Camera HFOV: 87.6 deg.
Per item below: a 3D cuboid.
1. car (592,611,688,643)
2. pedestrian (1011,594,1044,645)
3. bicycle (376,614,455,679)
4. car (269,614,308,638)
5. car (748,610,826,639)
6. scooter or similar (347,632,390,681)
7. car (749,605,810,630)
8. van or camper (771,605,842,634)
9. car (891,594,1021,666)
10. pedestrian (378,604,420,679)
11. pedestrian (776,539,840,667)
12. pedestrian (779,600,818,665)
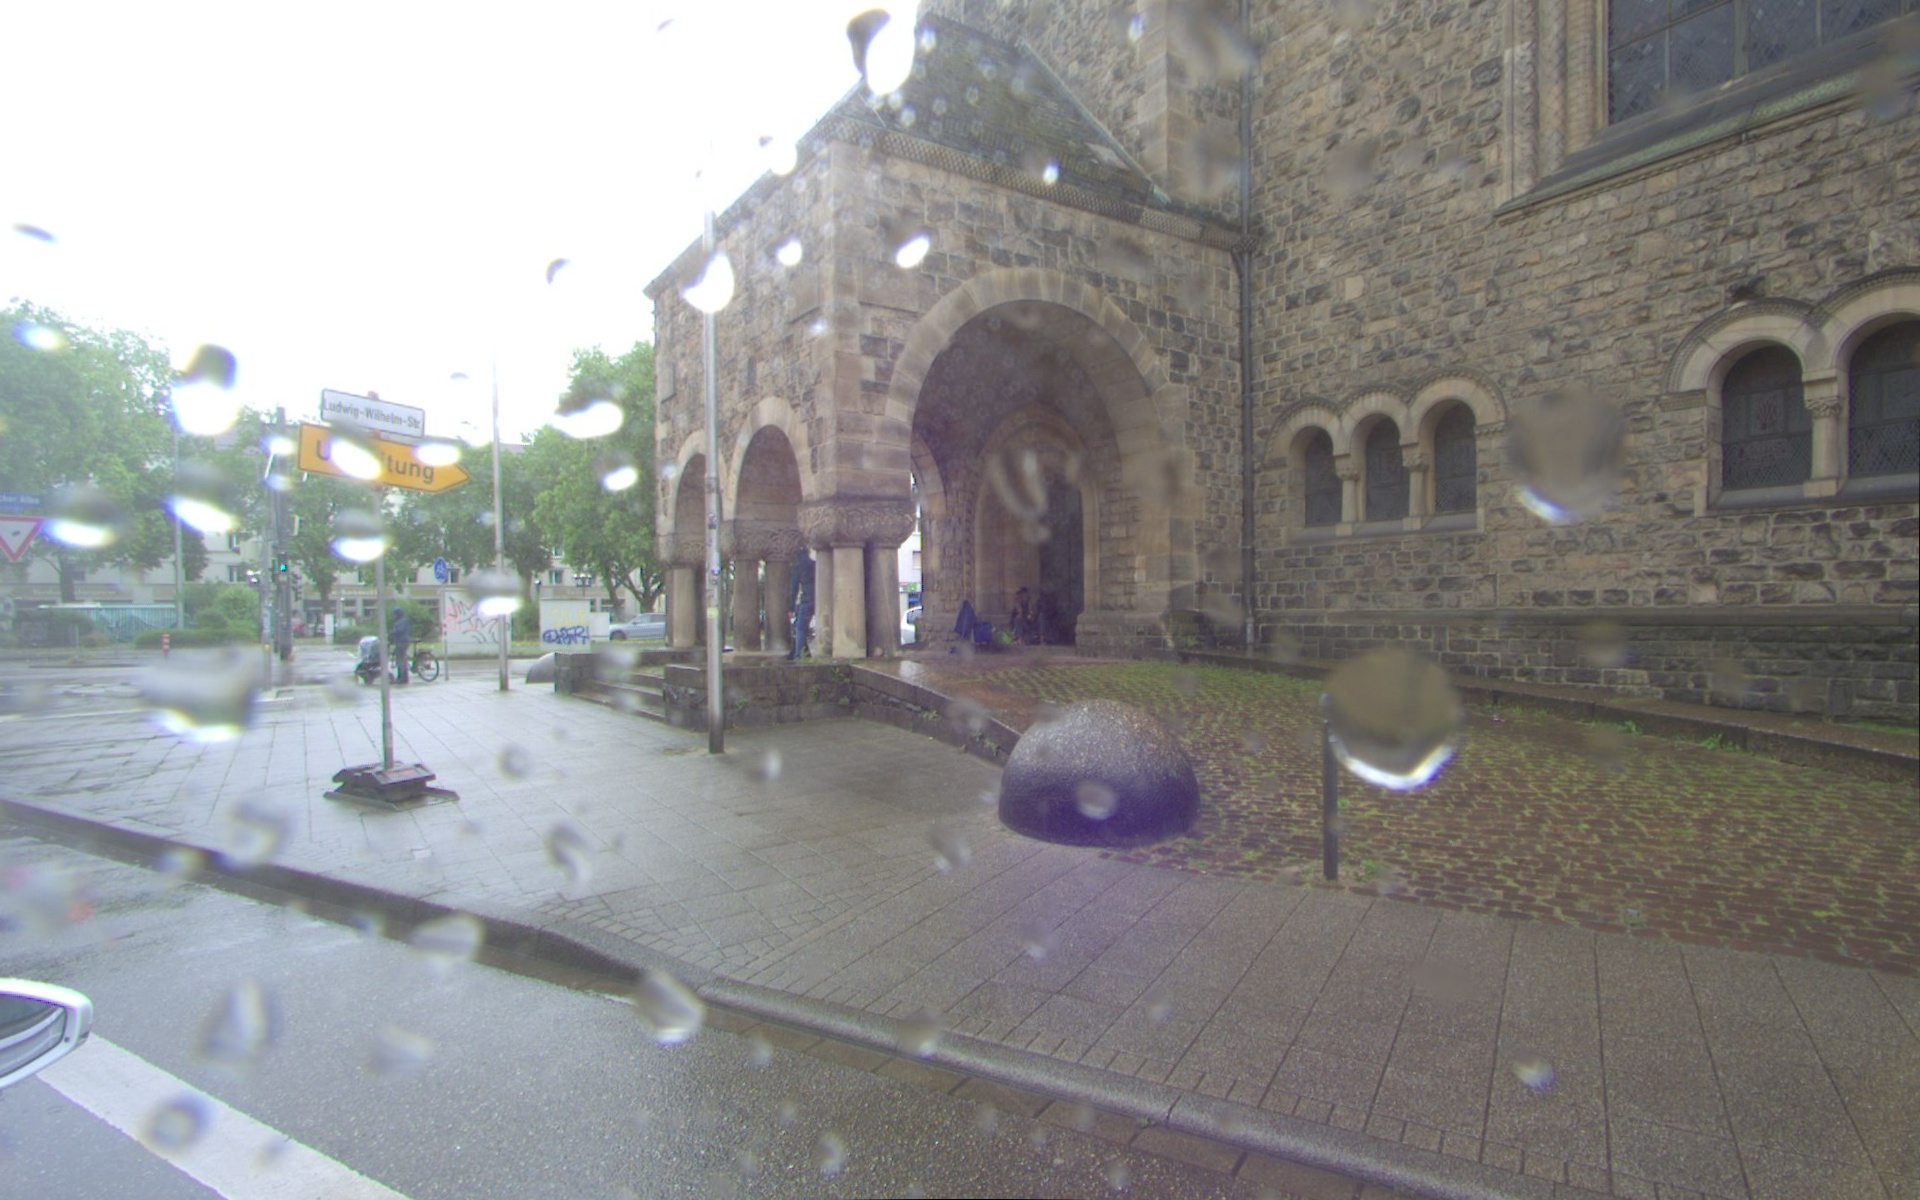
[{"bbox_3d":[-16.857,1.384,52.830,4.497,1.621,1.780,0,0,-35],"label":"car"},{"bbox_3d":[1.226,0.350,18.140,0.391,0.896,0.453,-1,0,-35],"label":"pedestrian"},{"bbox_3d":[-12.775,1.079,23.474,1.907,1.486,0.532,0,0,23],"label":"bicycle"},{"bbox_3d":[-44.800,1.740,66.787,1.651,1.541,3.645,-1,-1,-42],"label":"car"},{"bbox_3d":[-9.941,1.394,57.721,4.125,1.621,1.766,0,0,-35],"label":"car"},{"bbox_3d":[-13.458,1.275,22.784,0.912,1.062,0.511,0,1,35],"label":"scooter or similar"},{"bbox_3d":[-13.615,1.300,75.480,4.210,1.802,1.725,-1,0,-38],"label":"car"},{"bbox_3d":[-10.856,1.357,70.919,4.615,1.940,1.984,0,0,-38],"label":"van or camper"},{"bbox_3d":[-0.164,0.786,24.867,1.712,1.593,3.343,0,-4,-31],"label":"car"},{"bbox_3d":[-12.933,0.947,23.087,0.680,1.685,0.601,0,1,35],"label":"pedestrian"},{"bbox_3d":[-2.110,0.044,13.922,0.626,1.725,0.673,-1,1,-37],"label":"pedestrian"},{"bbox_3d":[-2.307,0.456,14.286,0.391,0.896,0.454,-1,0,-32],"label":"pedestrian"}]
